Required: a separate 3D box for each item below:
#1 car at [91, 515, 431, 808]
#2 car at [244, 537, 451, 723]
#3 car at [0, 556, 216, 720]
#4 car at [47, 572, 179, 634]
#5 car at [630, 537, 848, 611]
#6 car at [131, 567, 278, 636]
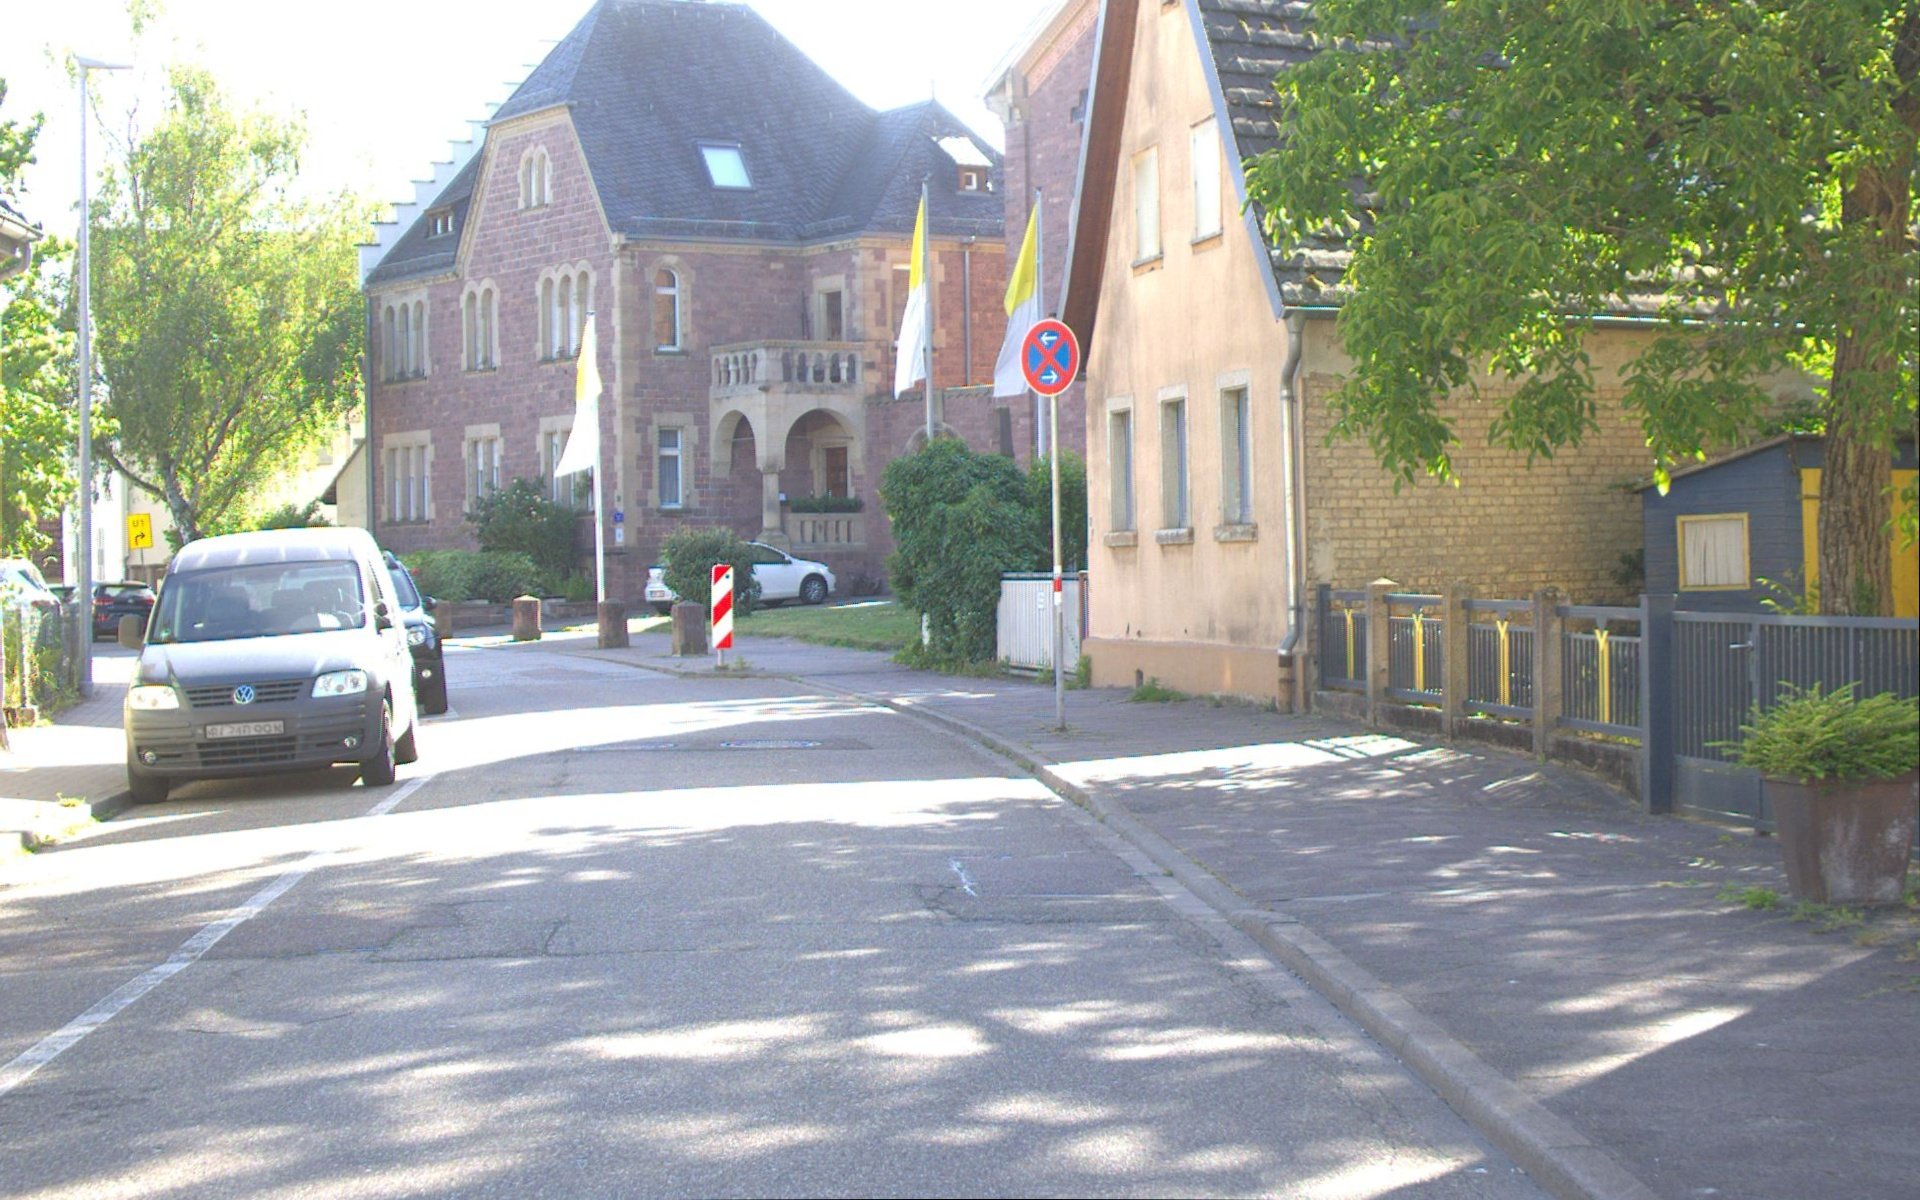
[{"bbox_3d":[-4.894,0.362,24.599,1.825,1.808,4.203,-4,1,-5],"label":"car"},{"bbox_3d":[-6.482,0.276,36.054,1.825,1.726,4.203,-4,1,-13],"label":"car"},{"bbox_3d":[-10.930,0.479,39.854,4.187,1.726,1.832,-4,1,-20],"label":"car"},{"bbox_3d":[-20.223,0.069,81.983,1.712,1.396,4.247,-2,1,-33],"label":"car"},{"bbox_3d":[-4.608,-0.555,72.029,4.234,1.396,1.718,-2,1,-35],"label":"car"},{"bbox_3d":[-16.448,0.037,74.710,1.712,1.396,4.247,-2,1,-33],"label":"car"}]
